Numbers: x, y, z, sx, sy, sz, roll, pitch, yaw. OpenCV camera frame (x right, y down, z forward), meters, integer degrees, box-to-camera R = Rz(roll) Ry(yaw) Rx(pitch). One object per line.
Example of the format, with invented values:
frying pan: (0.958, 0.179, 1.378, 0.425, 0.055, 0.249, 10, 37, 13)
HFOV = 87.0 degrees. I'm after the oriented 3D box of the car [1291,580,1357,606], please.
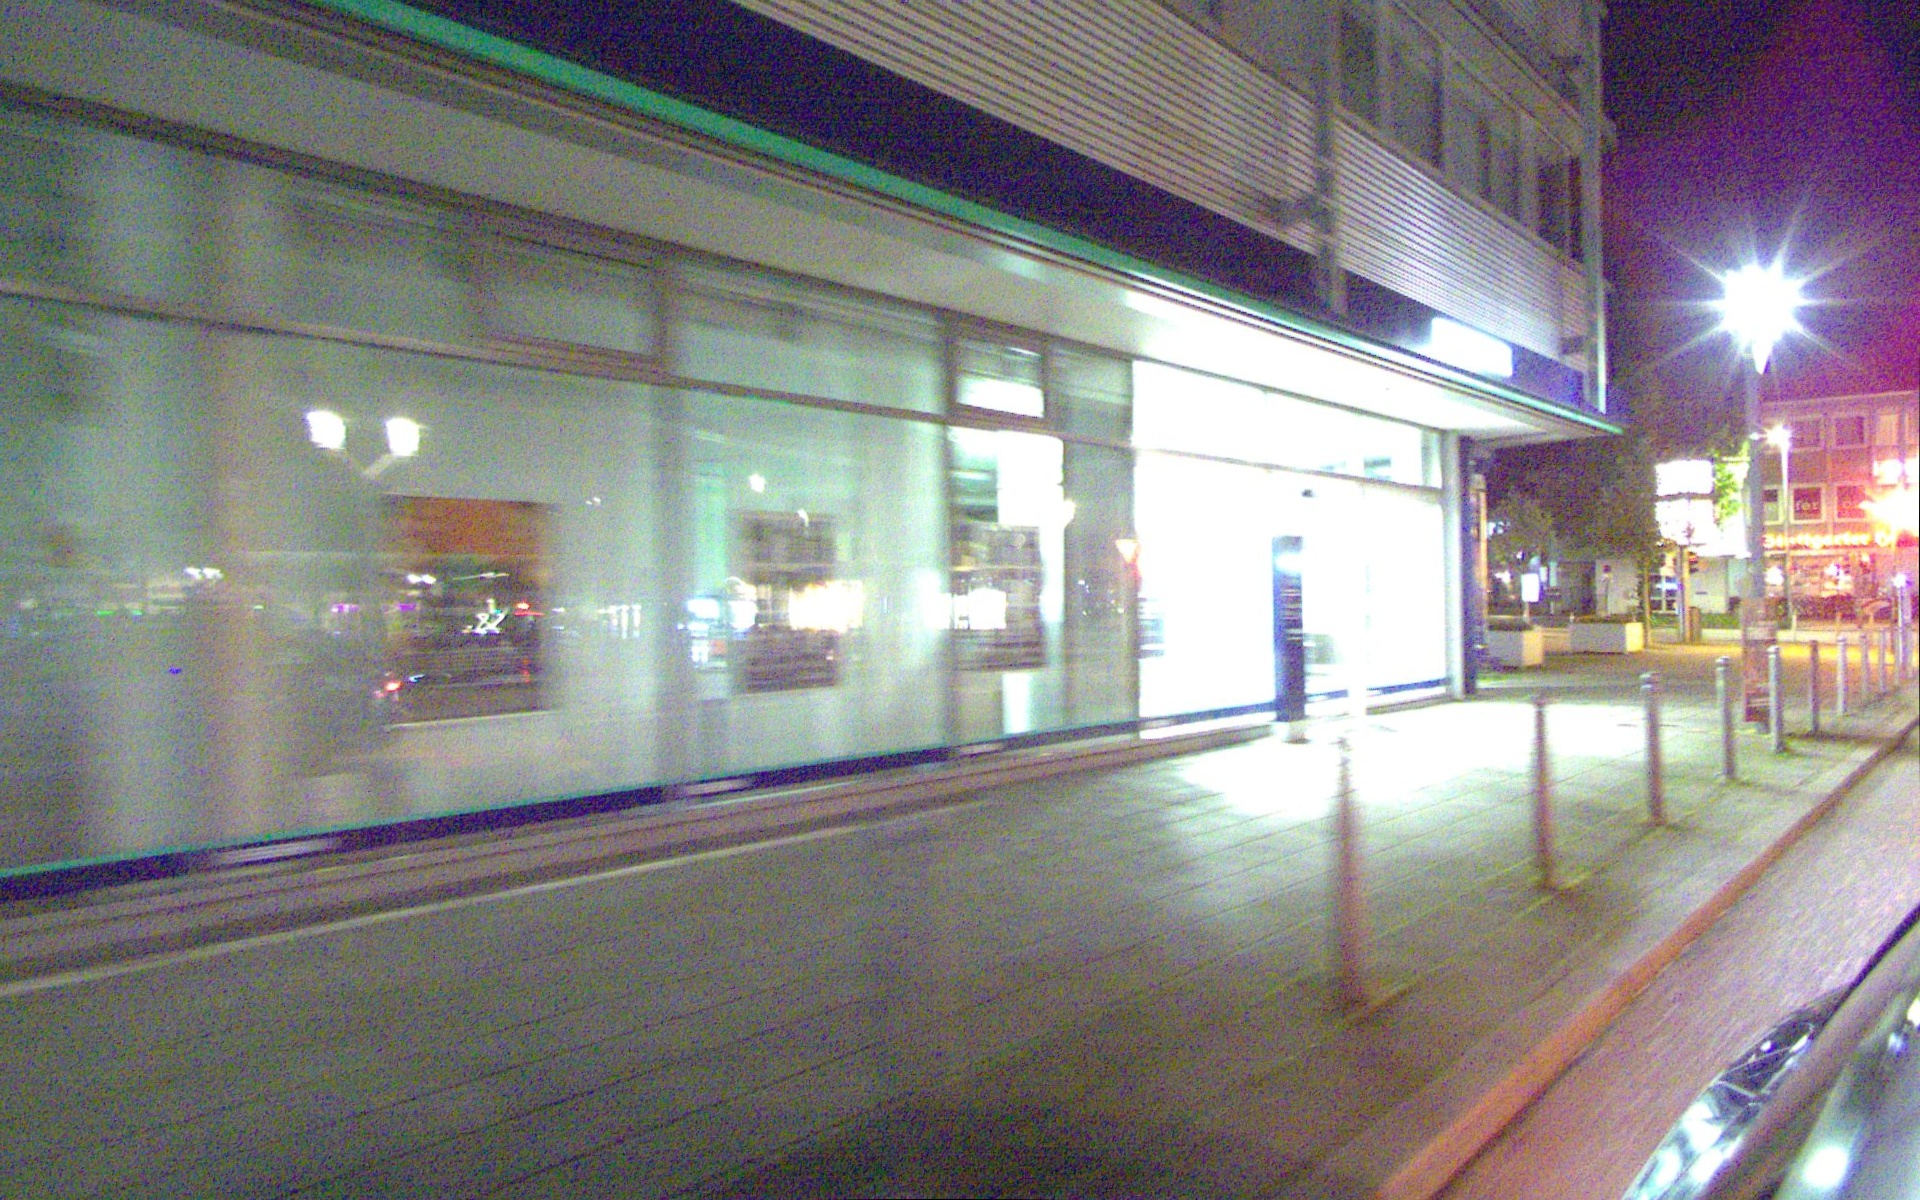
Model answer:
car: (24.094, -0.475, 67.114, 1.836, 1.674, 3.869, 1, 0, -26)
